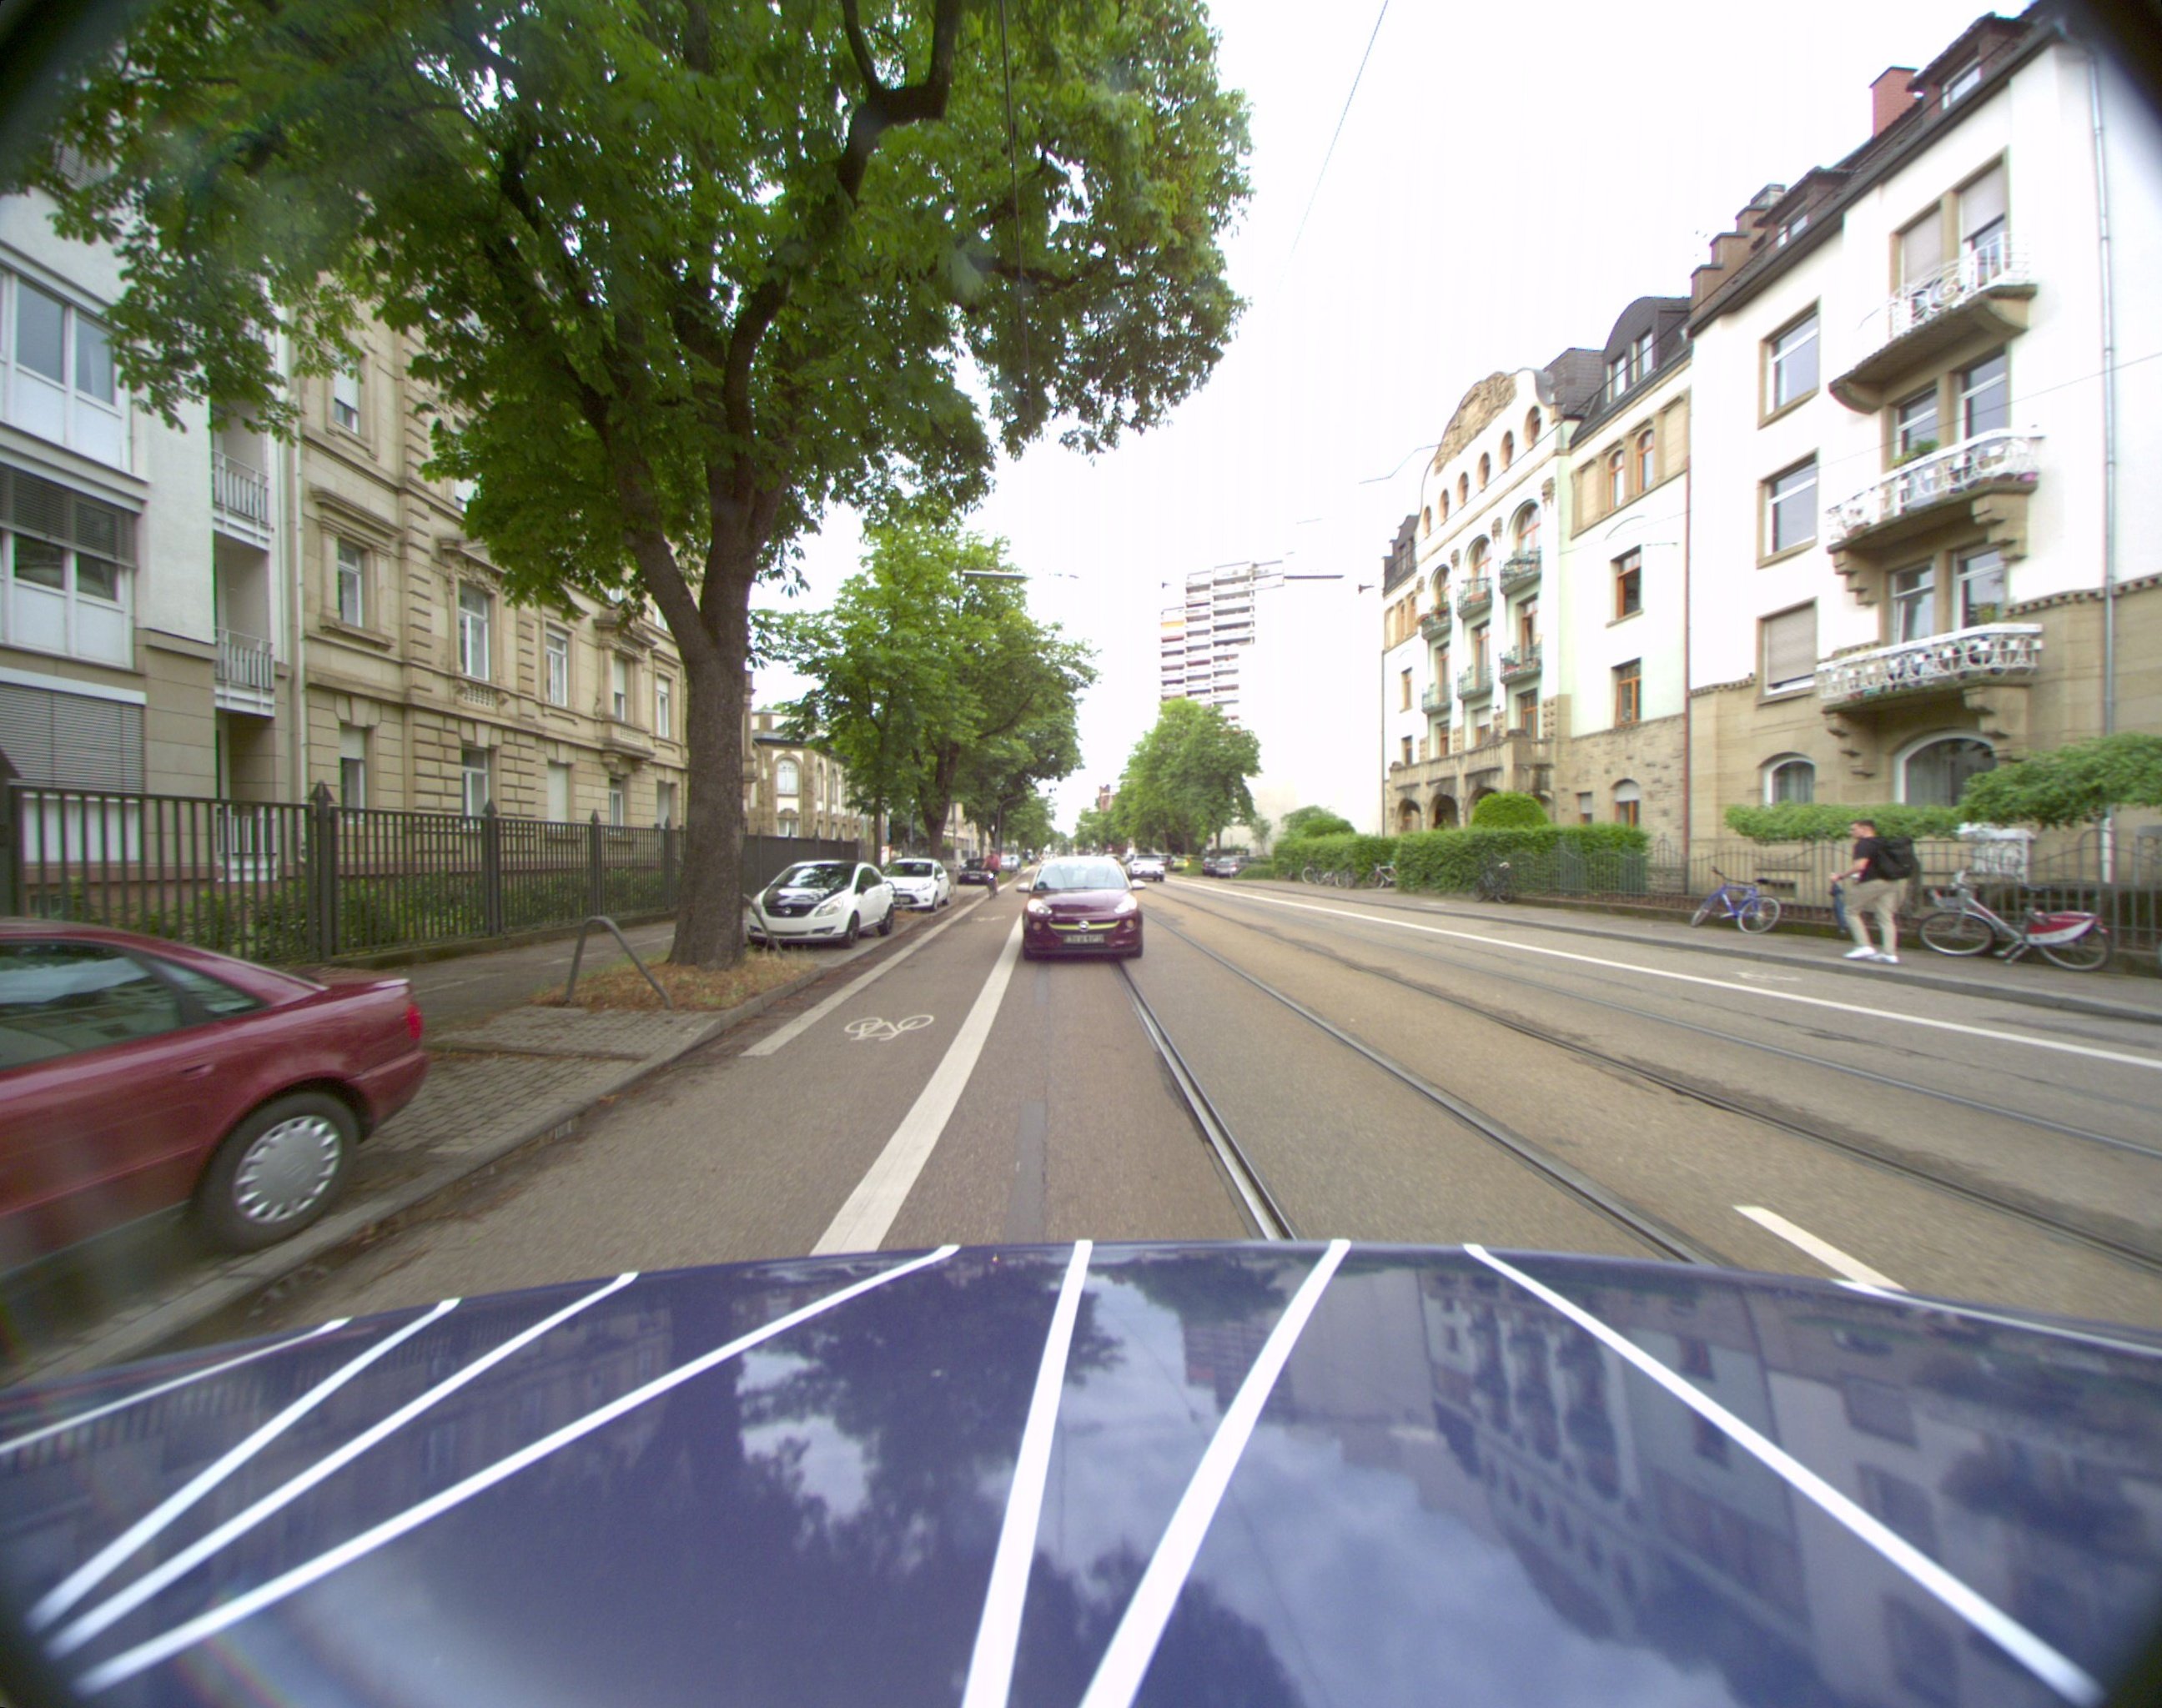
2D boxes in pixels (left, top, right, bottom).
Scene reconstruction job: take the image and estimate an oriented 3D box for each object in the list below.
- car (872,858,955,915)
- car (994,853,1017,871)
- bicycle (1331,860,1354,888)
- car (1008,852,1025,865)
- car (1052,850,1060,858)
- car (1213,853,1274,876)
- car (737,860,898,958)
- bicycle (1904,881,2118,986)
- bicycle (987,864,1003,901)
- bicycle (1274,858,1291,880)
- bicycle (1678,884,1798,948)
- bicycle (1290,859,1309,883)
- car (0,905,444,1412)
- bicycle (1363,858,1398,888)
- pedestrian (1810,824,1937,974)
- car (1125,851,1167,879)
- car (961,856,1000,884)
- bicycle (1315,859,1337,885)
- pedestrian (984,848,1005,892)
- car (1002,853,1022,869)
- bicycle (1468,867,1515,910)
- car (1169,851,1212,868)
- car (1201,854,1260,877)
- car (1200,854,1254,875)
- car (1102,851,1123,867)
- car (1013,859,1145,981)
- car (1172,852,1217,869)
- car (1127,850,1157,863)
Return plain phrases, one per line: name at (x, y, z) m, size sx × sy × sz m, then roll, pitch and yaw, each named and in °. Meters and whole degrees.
car at (-4.750, 0.872, 22.002) m, size 1.632 × 1.427 × 3.763 m, roll 2°, pitch 0°, yaw -2°
car at (-6.205, 0.663, 62.956) m, size 1.606 × 1.362 × 3.836 m, roll 2°, pitch 0°, yaw -2°
bicycle at (10.439, 0.801, 30.385) m, size 0.360 × 1.077 × 1.546 m, roll 0°, pitch 1°, yaw -2°
car at (-6.991, 0.438, 82.706) m, size 1.606 × 1.362 × 3.836 m, roll 2°, pitch 0°, yaw -2°
car at (-6.391, 0.059, 193.656) m, size 1.998 × 2.002 × 3.999 m, roll -1°, pitch 1°, yaw 1°
car at (10.228, 0.623, 47.573) m, size 4.008 × 1.395 × 1.690 m, roll 0°, pitch 1°, yaw -42°
car at (-4.531, 0.865, 13.642) m, size 1.606 × 1.427 × 3.776 m, roll 2°, pitch 0°, yaw -1°
bicycle at (11.172, 0.907, 9.213) m, size 0.386 × 1.095 × 1.623 m, roll 0°, pitch 1°, yaw -13°
bicycle at (-2.995, 0.973, 26.512) m, size 0.414 × 1.197 × 1.706 m, roll 0°, pitch 1°, yaw -1°
bicycle at (10.253, 0.747, 38.692) m, size 0.360 × 1.077 × 1.546 m, roll 0°, pitch 1°, yaw -2°
bicycle at (11.245, 1.032, 13.072) m, size 0.358 × 0.924 × 1.661 m, roll 19°, pitch 0°, yaw 1°
bicycle at (10.281, 0.789, 35.769) m, size 0.360 × 1.077 × 1.546 m, roll 0°, pitch 1°, yaw -2°
car at (-4.079, 0.993, 1.827) m, size 1.606 × 1.391 × 4.226 m, roll 2°, pitch 0°, yaw -2°
bicycle at (11.481, 0.726, 29.138) m, size 1.205 × 1.077 × 0.300 m, roll -3°, pitch 1°, yaw 0°
pedestrian at (10.127, 0.549, 9.746) m, size 0.670 × 1.833 × 0.882 m, roll 0°, pitch 1°, yaw -3°
car at (3.552, 0.568, 42.001) m, size 1.703 × 1.487 × 3.929 m, roll 1°, pitch 0°, yaw -4°
car at (-5.309, 0.832, 40.526) m, size 1.606 × 1.362 × 3.836 m, roll 2°, pitch 0°, yaw -2°
bicycle at (10.437, 0.748, 32.417) m, size 0.360 × 1.077 × 1.546 m, roll 0°, pitch 1°, yaw -2°
pedestrian at (-3.005, 0.546, 26.475) m, size 0.684 × 1.541 × 0.704 m, roll 0°, pitch 1°, yaw -1°
car at (-6.331, 0.629, 70.297) m, size 1.606 × 1.416 × 3.836 m, roll 2°, pitch 0°, yaw -2°
bicycle at (10.898, 0.892, 20.198) m, size 0.360 × 1.077 × 1.546 m, roll 0°, pitch 1°, yaw -2°
car at (9.628, 0.485, 66.782) m, size 1.690 × 1.434 × 4.008 m, roll 1°, pitch 1°, yaw 45°
car at (9.943, 0.734, 50.400) m, size 4.008 × 1.395 × 1.690 m, roll 0°, pitch 1°, yaw -42°
car at (10.323, 0.709, 53.580) m, size 4.008 × 1.395 × 1.690 m, roll 0°, pitch 1°, yaw -42°
car at (2.973, 0.468, 72.007) m, size 1.613 × 1.414 × 3.484 m, roll 1°, pitch 0°, yaw -5°
car at (-0.048, 0.840, 11.371) m, size 1.606 × 1.427 × 3.776 m, roll -2°, pitch 0°, yaw -1°
car at (9.507, 0.539, 63.727) m, size 1.690 × 1.387 × 4.008 m, roll 1°, pitch 1°, yaw 45°
car at (8.039, 0.299, 99.711) m, size 1.690 × 1.611 × 4.008 m, roll 1°, pitch 1°, yaw 45°
